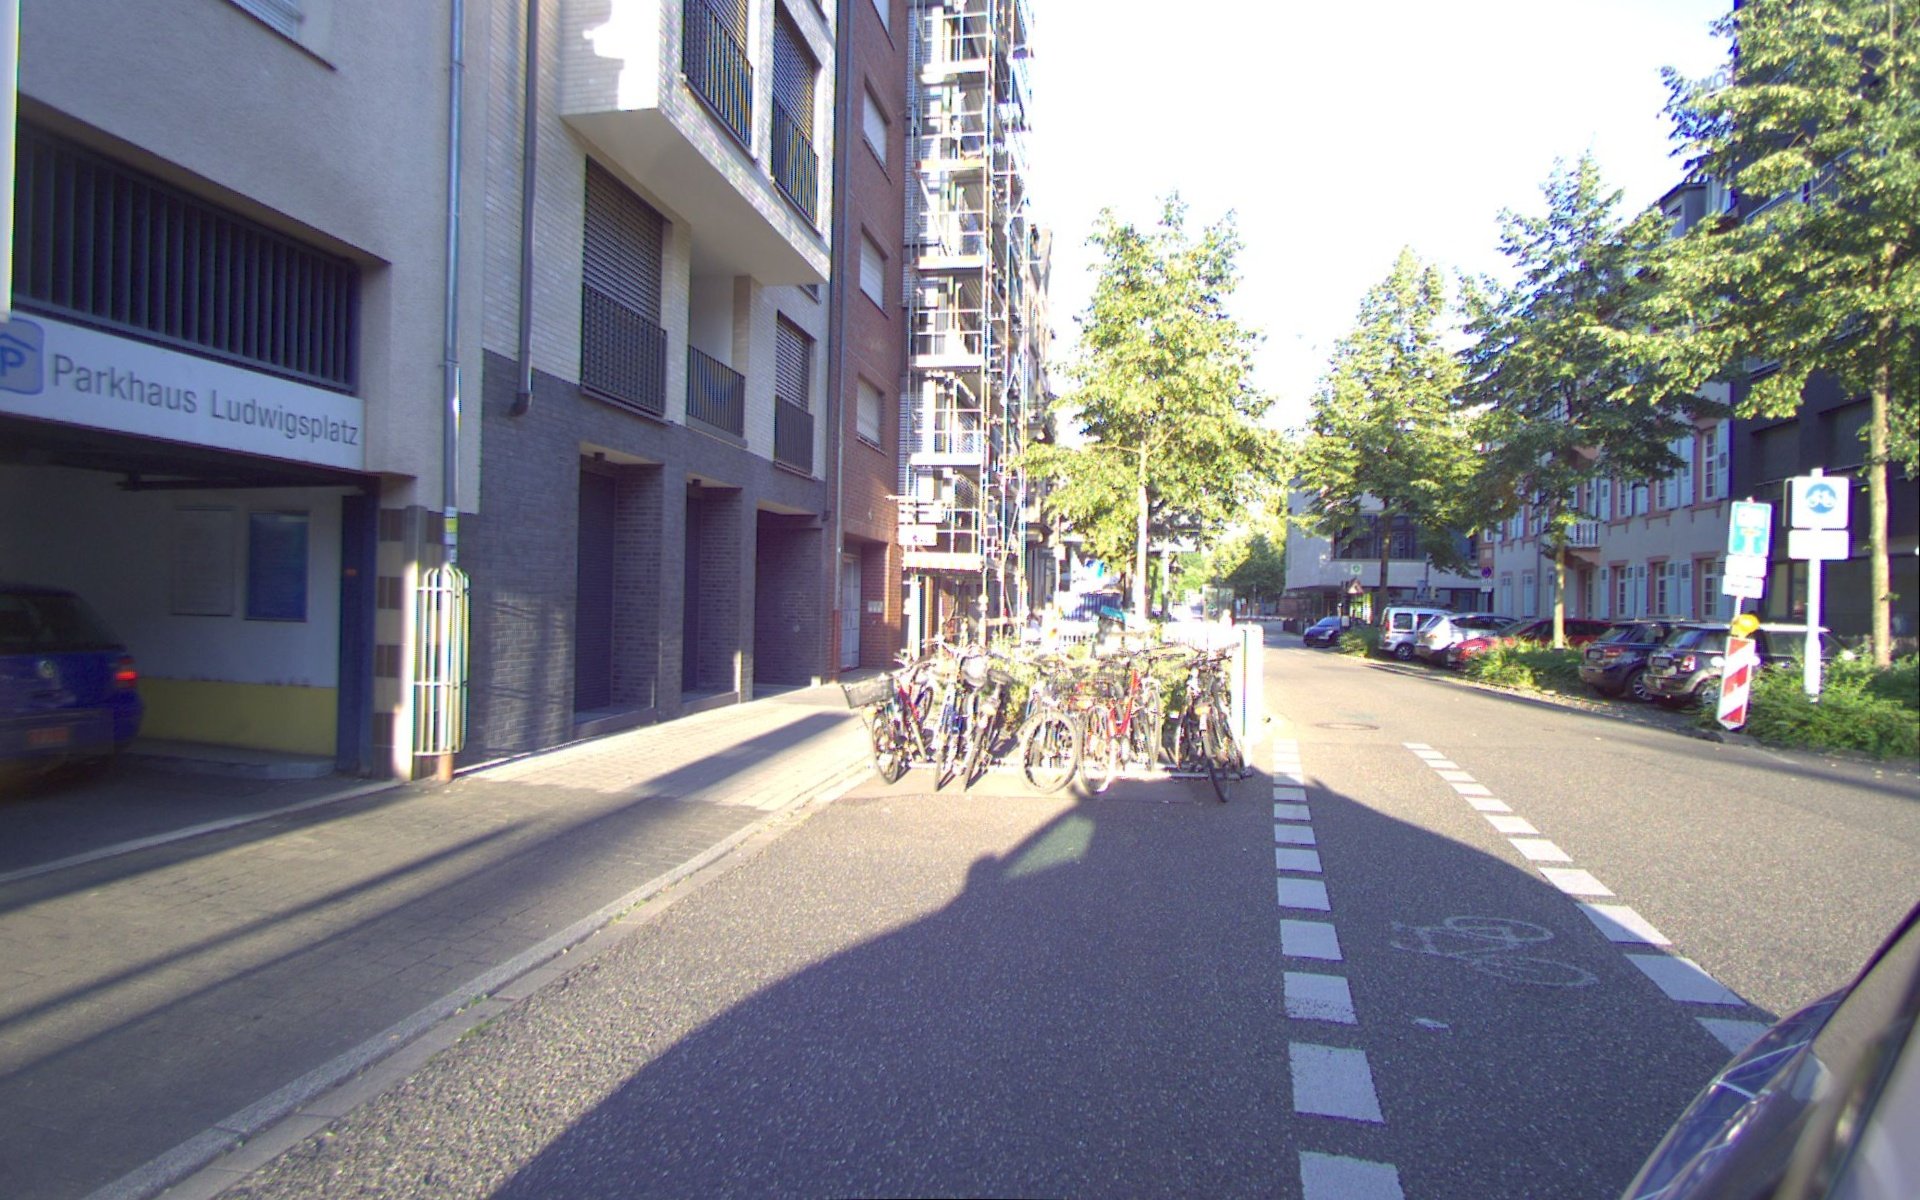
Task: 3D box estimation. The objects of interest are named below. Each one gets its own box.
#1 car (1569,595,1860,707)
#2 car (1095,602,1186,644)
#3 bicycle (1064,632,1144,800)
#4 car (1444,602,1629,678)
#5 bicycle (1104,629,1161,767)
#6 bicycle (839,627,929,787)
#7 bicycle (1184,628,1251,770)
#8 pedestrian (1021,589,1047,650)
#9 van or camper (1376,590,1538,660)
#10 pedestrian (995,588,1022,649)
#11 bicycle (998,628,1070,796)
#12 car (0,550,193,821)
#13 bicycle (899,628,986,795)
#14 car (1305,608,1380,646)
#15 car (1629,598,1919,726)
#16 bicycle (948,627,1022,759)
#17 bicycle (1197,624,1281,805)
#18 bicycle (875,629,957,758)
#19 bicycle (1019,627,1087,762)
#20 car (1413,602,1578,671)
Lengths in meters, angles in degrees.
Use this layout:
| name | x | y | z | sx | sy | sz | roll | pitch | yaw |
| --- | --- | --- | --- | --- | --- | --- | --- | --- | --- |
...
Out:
| name | x | y | z | sx | sy | sz | roll | pitch | yaw |
| --- | --- | --- | --- | --- | --- | --- | --- | --- | --- |
| car | 13.312 | 0.855 | 18.083 | 3.637 | 1.691 | 1.853 | 3 | 0 | 10 |
| car | 8.216 | 1.015 | 45.972 | 3.941 | 1.705 | 1.883 | 2 | 0 | 14 |
| bicycle | 1.184 | 0.864 | 8.137 | 0.412 | 1.171 | 1.544 | 1 | 0 | 16 |
| car | 14.740 | 0.987 | 26.069 | 3.637 | 1.691 | 1.853 | 3 | 0 | 10 |
| bicycle | 1.695 | 0.897 | 9.840 | 0.481 | 1.178 | 1.547 | 1 | 0 | 11 |
| bicycle | -0.612 | 0.853 | 8.579 | 0.382 | 1.198 | 1.400 | 1 | 0 | 11 |
| bicycle | 2.441 | 0.888 | 9.695 | 0.501 | 1.193 | 1.547 | 1 | 0 | 11 |
| pedestrian | 2.264 | 0.589 | 30.979 | 0.731 | 1.806 | 0.654 | 1 | -1 | 10 |
| van or camper | 16.393 | 0.803 | 33.612 | 4.382 | 2.031 | 1.853 | 3 | 0 | 10 |
| pedestrian | 1.478 | 0.552 | 30.854 | 0.732 | 1.806 | 0.654 | 1 | -1 | 12 |
| bicycle | 0.626 | 0.840 | 8.189 | 0.376 | 1.174 | 1.547 | 1 | 0 | 11 |
| car | -7.594 | 0.401 | 6.641 | 4.050 | 1.583 | 1.690 | 3 | 0 | 9 |
| bicycle | -0.111 | 0.854 | 8.356 | 0.381 | 1.204 | 1.547 | 1 | 0 | 11 |
| car | 17.478 | 1.237 | 46.178 | 1.853 | 1.588 | 3.637 | 3 | 0 | 44 |
| car | 13.022 | 0.921 | 15.674 | 3.943 | 1.691 | 1.853 | 3 | 0 | 10 |
| bicycle | 0.274 | 0.878 | 10.115 | 0.461 | 1.158 | 1.547 | 1 | 0 | 11 |
| bicycle | 2.160 | 0.827 | 7.948 | 0.491 | 1.236 | 1.547 | 1 | 0 | 11 |
| bicycle | -0.414 | 0.891 | 10.205 | 0.451 | 1.146 | 1.547 | 1 | 0 | 11 |
| bicycle | 0.929 | 0.867 | 9.862 | 0.481 | 1.164 | 1.547 | 1 | 0 | 11 |
| car | 15.063 | 1.001 | 28.631 | 3.637 | 1.691 | 1.853 | 3 | 0 | 10 |
